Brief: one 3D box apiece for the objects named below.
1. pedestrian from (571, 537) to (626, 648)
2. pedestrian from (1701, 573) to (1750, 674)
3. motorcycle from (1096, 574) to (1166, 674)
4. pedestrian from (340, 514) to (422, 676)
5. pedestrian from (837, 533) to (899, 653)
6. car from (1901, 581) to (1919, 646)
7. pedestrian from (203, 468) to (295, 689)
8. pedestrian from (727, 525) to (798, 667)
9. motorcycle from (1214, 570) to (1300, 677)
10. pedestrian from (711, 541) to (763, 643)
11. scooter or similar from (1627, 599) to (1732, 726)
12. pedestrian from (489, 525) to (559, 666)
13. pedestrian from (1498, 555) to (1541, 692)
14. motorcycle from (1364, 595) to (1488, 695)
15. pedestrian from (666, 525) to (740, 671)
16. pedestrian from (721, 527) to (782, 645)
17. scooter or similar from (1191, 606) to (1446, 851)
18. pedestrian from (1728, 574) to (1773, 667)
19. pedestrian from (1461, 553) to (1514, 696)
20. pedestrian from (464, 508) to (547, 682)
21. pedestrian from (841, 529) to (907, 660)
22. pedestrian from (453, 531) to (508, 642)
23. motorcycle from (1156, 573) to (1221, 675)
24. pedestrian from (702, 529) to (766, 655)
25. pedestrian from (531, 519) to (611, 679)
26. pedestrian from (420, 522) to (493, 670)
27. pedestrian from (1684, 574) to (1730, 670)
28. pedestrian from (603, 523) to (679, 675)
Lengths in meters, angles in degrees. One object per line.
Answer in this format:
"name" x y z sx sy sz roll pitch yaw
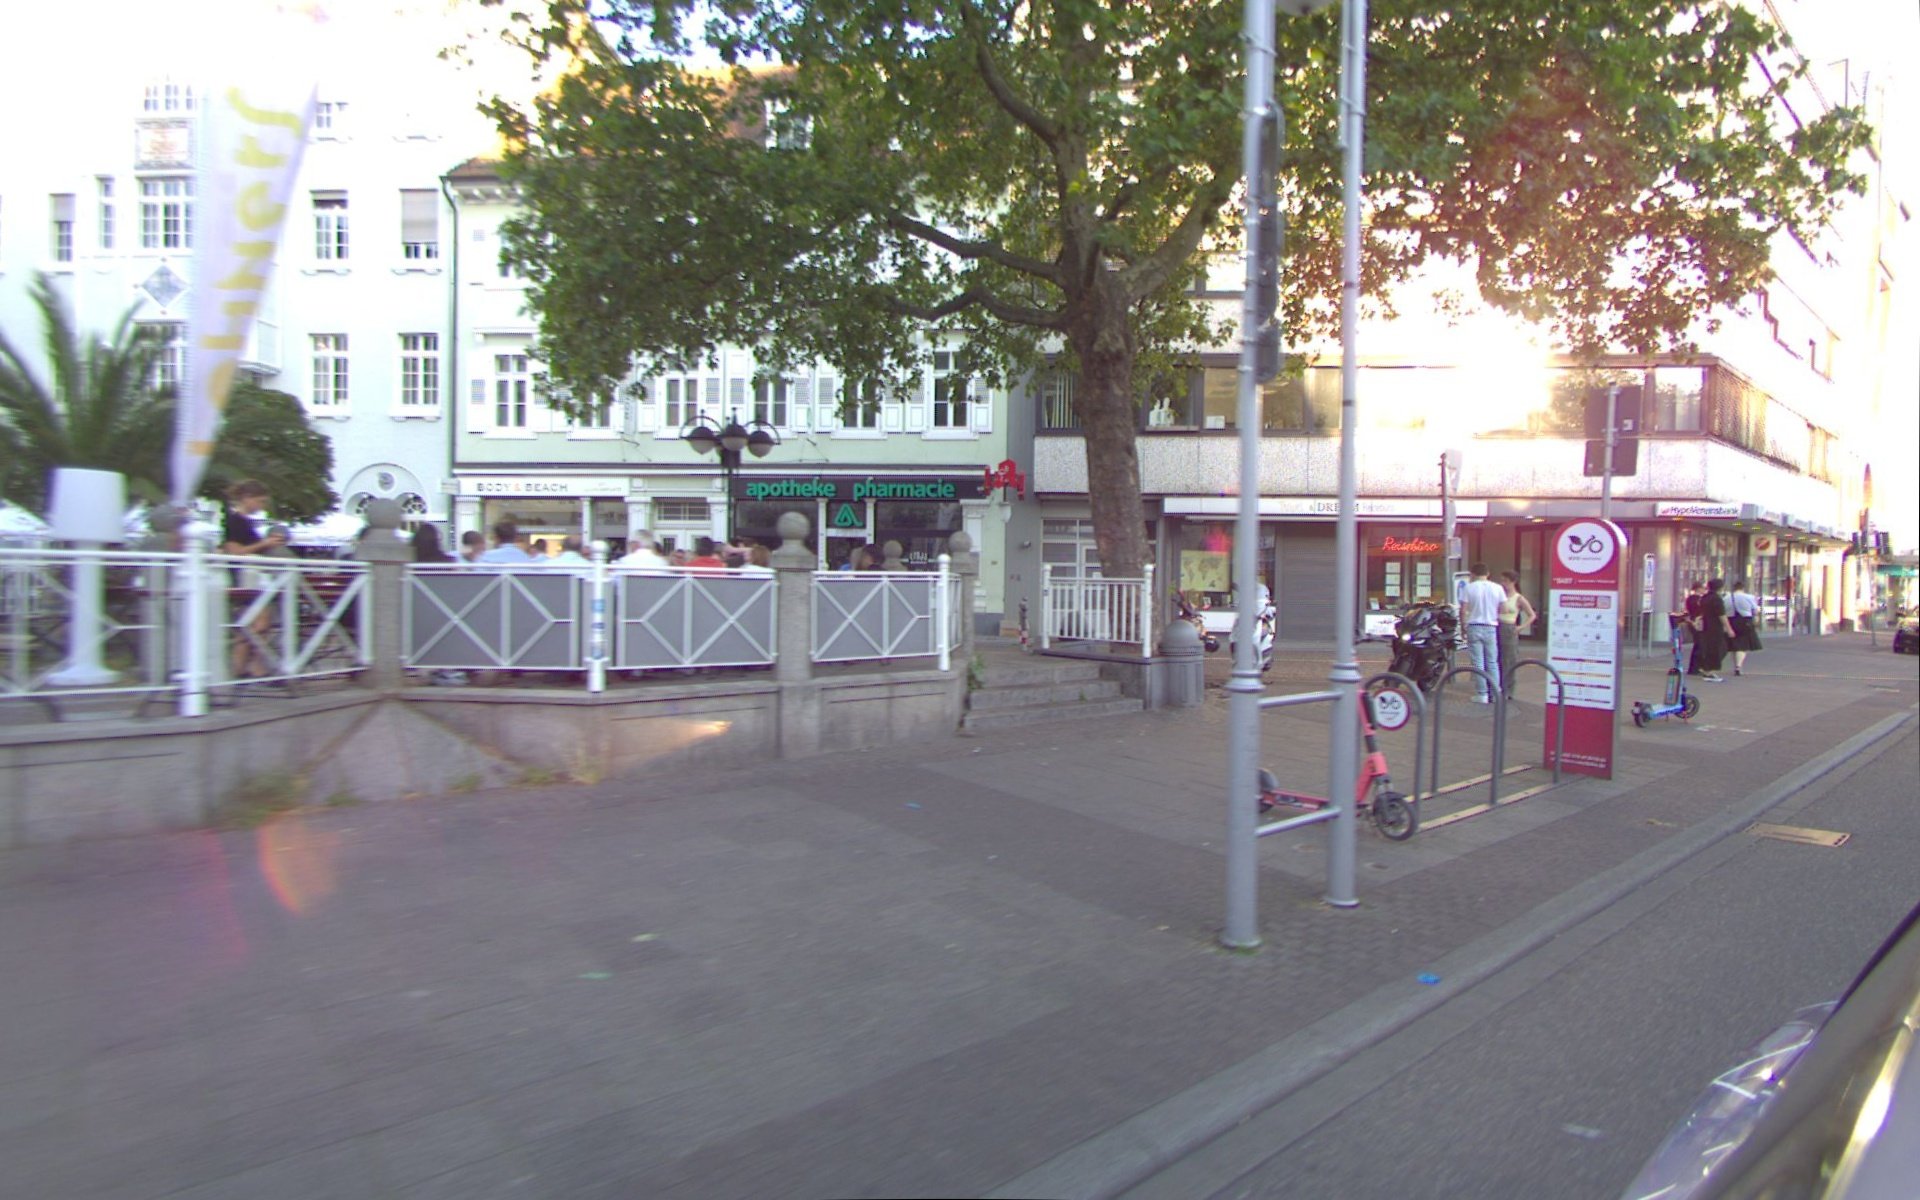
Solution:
"pedestrian" -4.426 -0.096 12.386 0.482 1.313 0.531 0 1 -40
"pedestrian" 12.749 0.375 16.848 0.635 1.645 0.512 0 1 39
"motorcycle" 2.676 0.367 15.704 0.697 1.423 1.955 2 -1 20
"pedestrian" -4.925 -0.046 8.602 0.523 1.313 0.490 0 1 -40
"pedestrian" -1.064 -0.083 11.716 0.523 1.350 0.490 0 1 -40
"car" 25.838 0.353 26.150 3.930 1.593 1.770 -1 4 -41
"pedestrian" -5.337 -0.157 7.595 0.523 1.578 0.490 0 0 -40
"pedestrian" -1.952 -0.046 9.981 0.482 1.350 0.531 0 1 -40
"motorcycle" 4.314 0.340 14.615 0.700 1.423 1.946 2 -1 30
"pedestrian" -2.959 -0.111 13.443 0.482 1.313 0.531 0 1 -40
"scooter or similar" 7.906 0.637 11.098 1.628 1.247 0.534 -1 3 -41
"pedestrian" -4.212 -0.045 9.773 0.482 1.313 0.531 0 1 -40
"pedestrian" 7.339 0.298 13.274 0.428 1.758 0.405 2 2 31
"motorcycle" 6.090 0.542 13.186 1.933 1.200 0.705 0 2 -41
"pedestrian" -2.408 -0.022 9.468 0.482 1.313 0.531 0 1 -40
"pedestrian" -2.398 -0.161 11.639 0.482 1.313 0.531 0 1 -40
"scooter or similar" 2.138 0.702 6.153 0.526 1.247 1.343 -1 3 -42
"pedestrian" 14.289 0.359 18.299 0.635 1.645 0.512 0 1 39
"pedestrian" 6.643 0.297 12.746 0.403 1.758 0.430 0 2 -45
"pedestrian" -3.679 -0.044 8.187 0.482 1.350 0.531 0 1 -40
"pedestrian" -0.917 -0.059 10.773 0.482 1.350 0.531 0 1 -40
"pedestrian" -5.848 -0.160 12.334 0.482 1.313 0.531 0 1 -40
"motorcycle" 3.521 0.358 15.498 0.697 1.423 1.955 2 -1 20
"pedestrian" -2.438 -0.094 10.903 0.482 1.313 0.531 0 1 -40
"pedestrian" -3.318 -0.015 8.633 0.482 1.313 0.531 0 1 -40
"pedestrian" -4.641 -0.044 9.328 0.482 1.313 0.531 0 1 -40
"pedestrian" 13.096 0.363 17.741 0.635 1.645 0.512 0 1 39
"pedestrian" -2.871 -0.017 9.107 0.482 1.313 0.531 0 1 -40
